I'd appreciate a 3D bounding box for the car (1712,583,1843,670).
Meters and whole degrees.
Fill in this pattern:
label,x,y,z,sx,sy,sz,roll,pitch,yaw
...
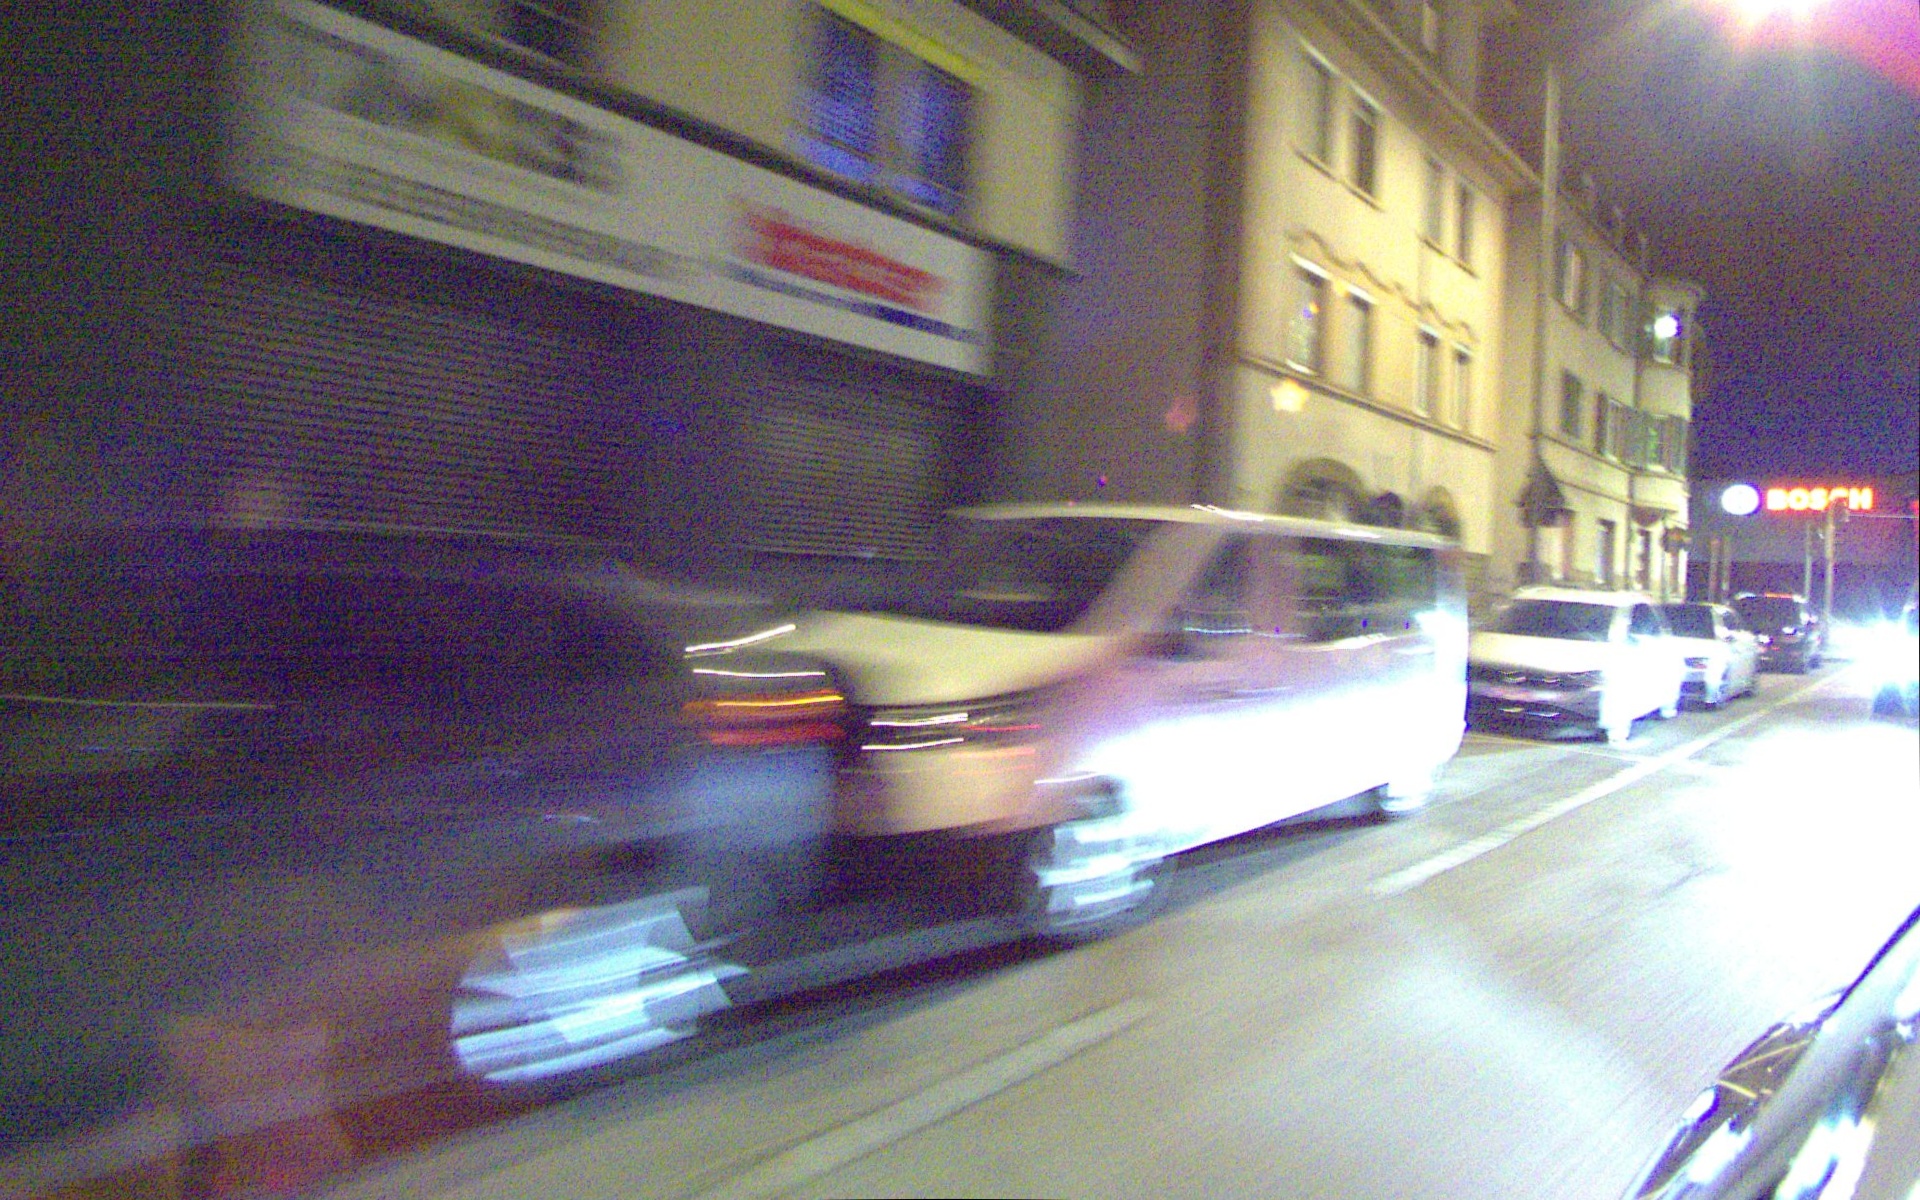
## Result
label,x,y,z,sx,sy,sz,roll,pitch,yaw
car,18.412,0.514,22.726,4.189,1.703,1.746,-1,4,-45

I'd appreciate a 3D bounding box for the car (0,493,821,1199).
label,x,y,z,sx,sy,sz,roll,pitch,yaw
car,-2.578,0.537,2.539,1.821,1.618,4.153,6,5,44

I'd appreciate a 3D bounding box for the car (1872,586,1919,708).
label,x,y,z,sx,sy,sz,roll,pitch,yaw
car,14.810,0.670,14.669,3.932,1.636,1.996,0,2,-43

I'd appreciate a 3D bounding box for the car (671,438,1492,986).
label,x,y,z,sx,sy,sz,roll,pitch,yaw
car,1.170,0.320,6.179,5.282,1.952,2.075,-1,4,-44

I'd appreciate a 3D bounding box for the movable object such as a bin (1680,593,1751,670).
label,x,y,z,sx,sy,sz,roll,pitch,yaw
movable object such as a bin,15.218,0.603,20.382,0.937,1.449,1.318,4,3,43

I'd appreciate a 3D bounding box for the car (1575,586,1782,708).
label,x,y,z,sx,sy,sz,roll,pitch,yaw
car,11.192,0.592,15.618,4.755,1.527,1.746,-1,4,-45

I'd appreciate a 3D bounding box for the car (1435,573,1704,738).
label,x,y,z,sx,sy,sz,roll,pitch,yaw
car,7.433,0.519,12.171,4.142,1.584,1.746,-1,4,-45
